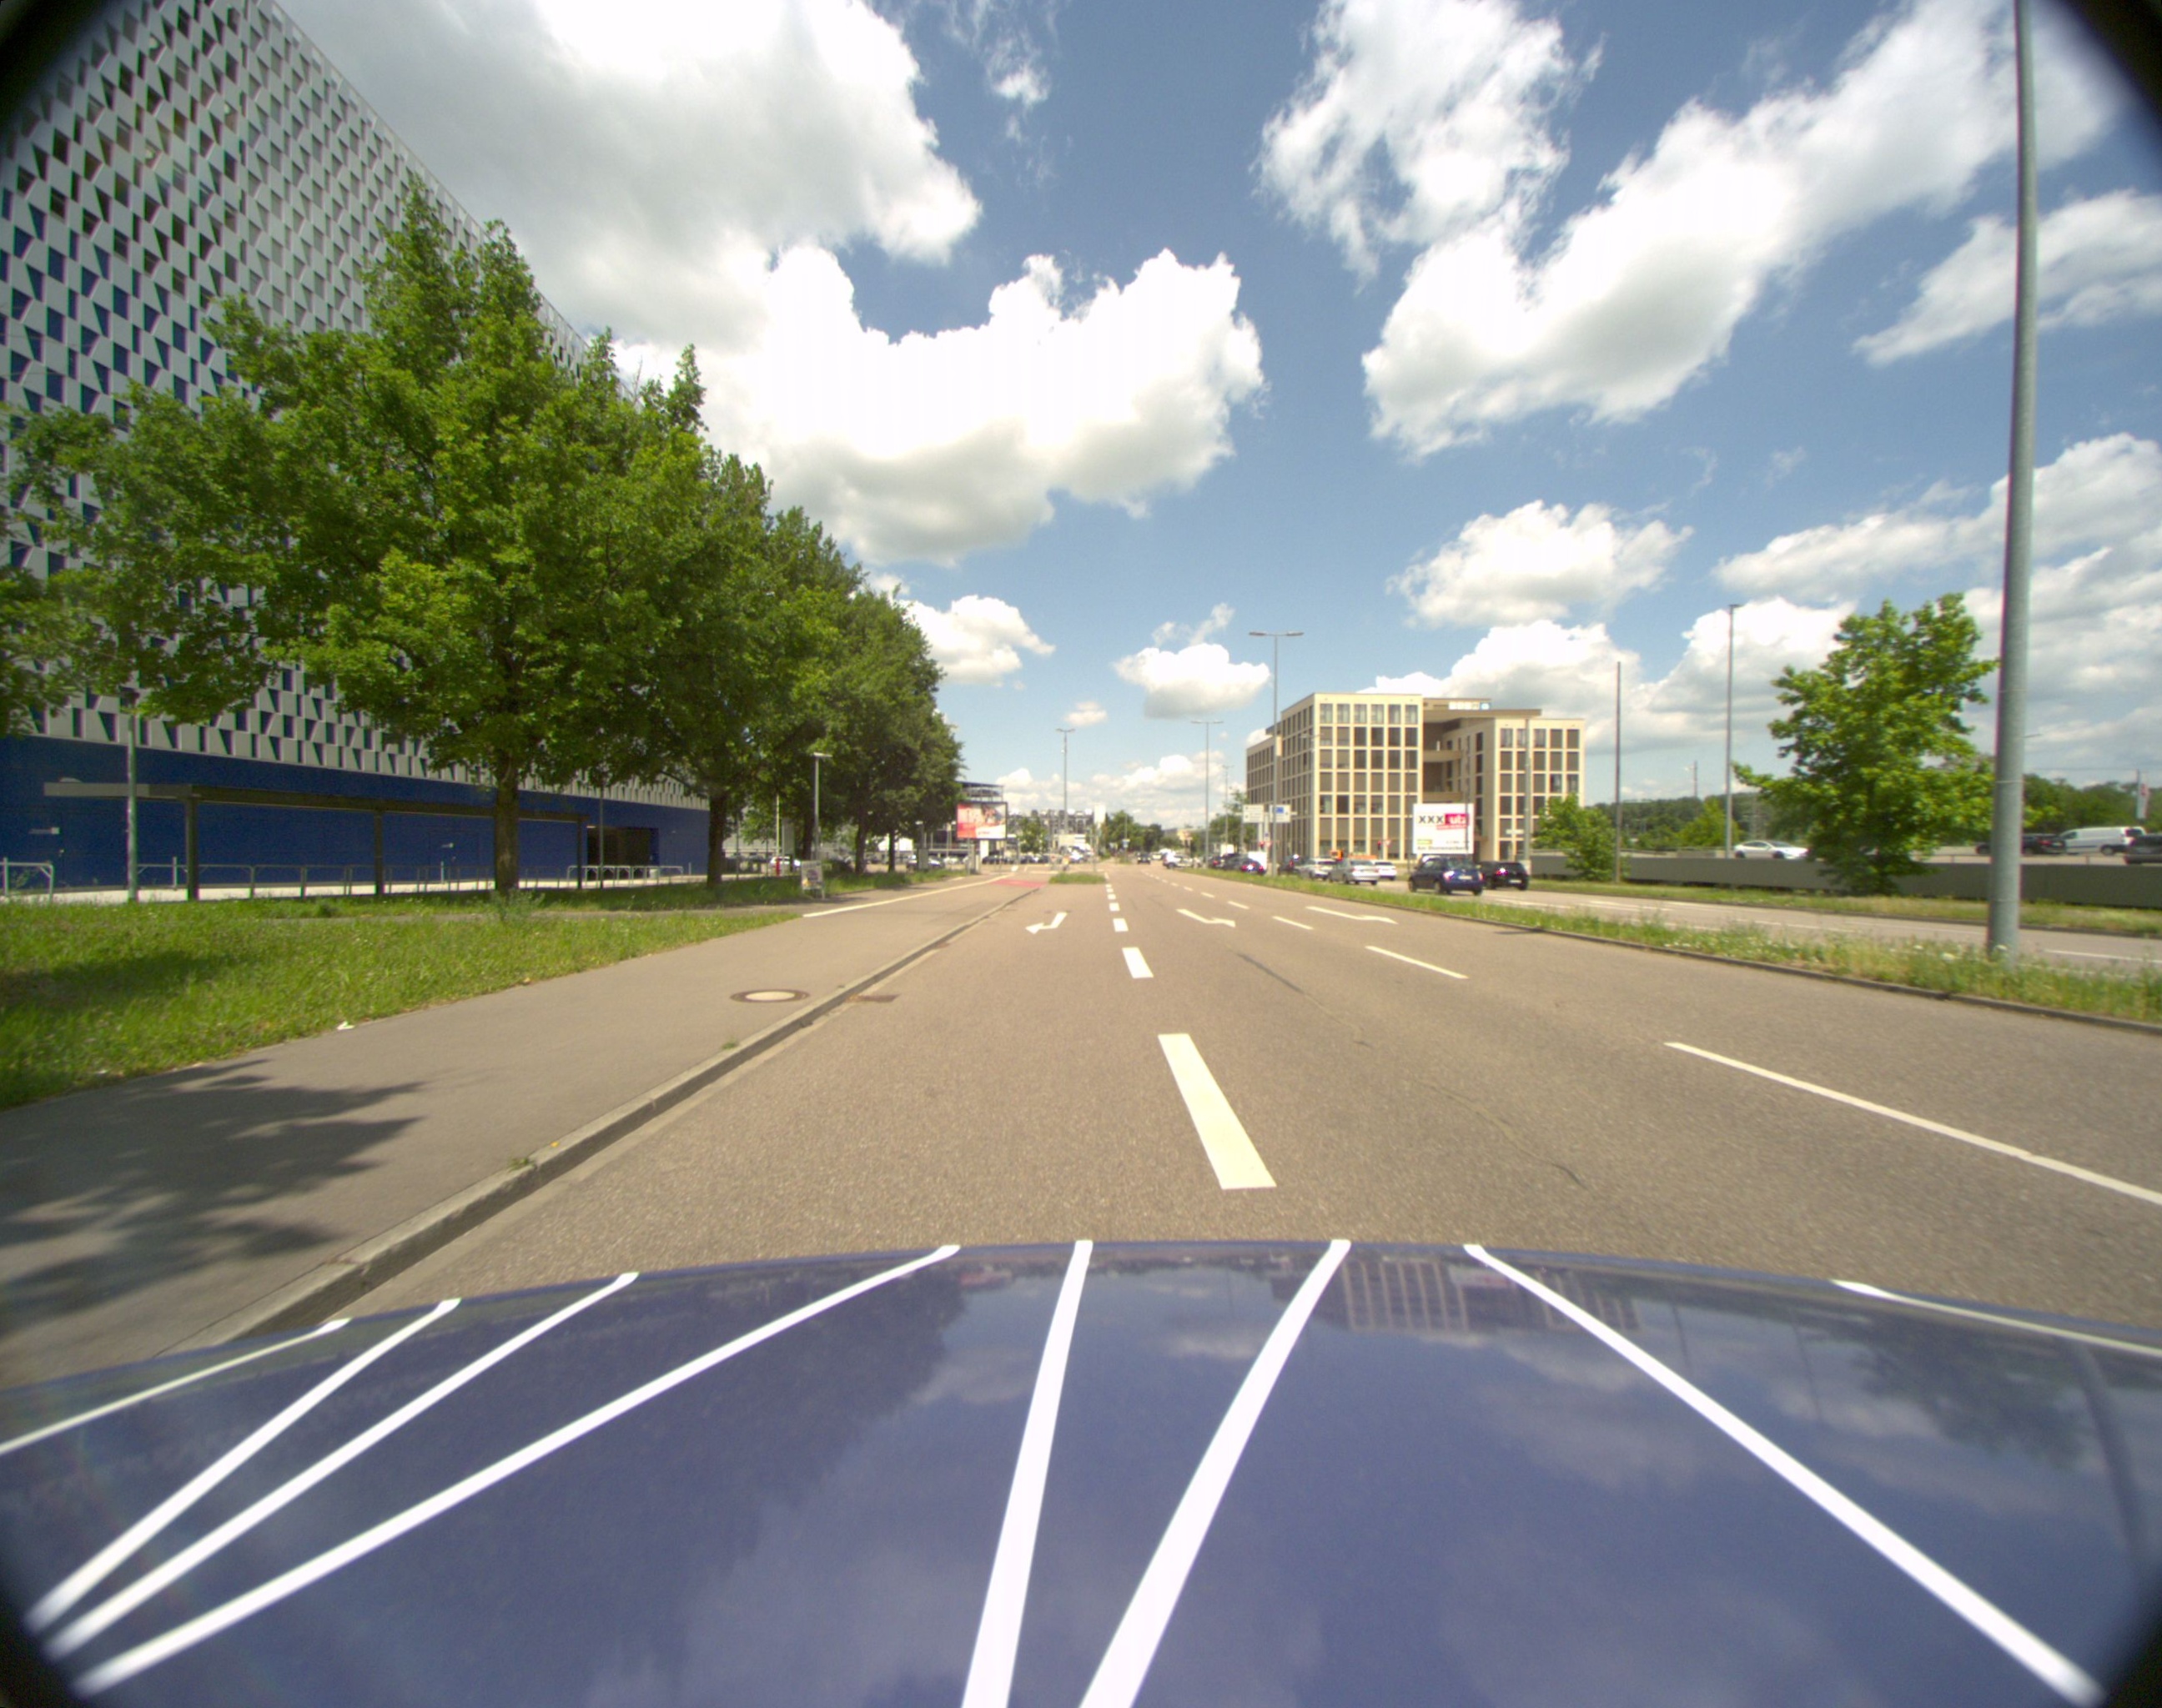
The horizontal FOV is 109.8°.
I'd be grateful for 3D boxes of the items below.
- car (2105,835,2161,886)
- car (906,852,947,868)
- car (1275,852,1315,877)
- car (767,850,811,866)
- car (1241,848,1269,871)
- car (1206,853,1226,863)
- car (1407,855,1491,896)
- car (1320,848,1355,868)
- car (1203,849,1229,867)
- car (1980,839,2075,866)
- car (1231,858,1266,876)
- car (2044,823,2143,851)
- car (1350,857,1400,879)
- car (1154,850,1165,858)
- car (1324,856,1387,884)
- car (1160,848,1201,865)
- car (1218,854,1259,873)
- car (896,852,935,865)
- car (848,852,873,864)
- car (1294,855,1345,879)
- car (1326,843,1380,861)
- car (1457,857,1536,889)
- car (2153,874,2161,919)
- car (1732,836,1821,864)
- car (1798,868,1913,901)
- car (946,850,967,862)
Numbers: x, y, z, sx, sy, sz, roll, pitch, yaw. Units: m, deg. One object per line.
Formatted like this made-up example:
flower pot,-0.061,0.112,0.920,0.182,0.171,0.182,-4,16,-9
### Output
car,50.442,0.300,34.752,4.359,2.315,2.000,0,1,1
car,-16.473,0.658,81.177,3.998,1.681,1.858,1,0,-4
car,15.532,0.763,55.443,1.796,1.691,4.227,1,-1,1
car,-31.228,0.392,81.409,3.998,1.681,1.858,1,0,-4
car,15.840,0.526,69.157,1.861,2.031,3.577,1,0,3
car,24.014,0.676,134.881,1.857,1.718,4.191,1,1,37
car,14.651,0.799,30.462,1.743,1.466,3.676,1,1,3
car,21.972,0.348,65.235,1.796,1.691,3.871,1,0,1
car,12.240,0.364,69.238,1.796,1.635,4.171,1,-1,3
car,66.383,-0.111,53.390,1.854,1.822,3.833,1,0,0
car,12.544,0.953,57.117,1.796,1.243,4.307,1,-1,1
car,71.310,-1.151,53.611,1.855,1.822,3.832,1,0,-2
car,20.392,0.942,52.877,1.623,1.464,4.358,1,-1,-2
car,18.408,0.030,178.761,2.289,1.708,4.483,1,1,3
car,14.984,0.850,41.742,1.796,1.409,4.674,1,0,1
car,10.892,0.263,83.510,4.189,1.718,1.862,0,3,-2
car,13.243,0.781,64.075,1.799,1.551,3.764,1,-1,-18
car,-21.228,0.602,97.471,4.700,1.622,1.999,1,0,-7
car,-31.057,0.555,107.009,1.795,1.543,4.003,1,0,10
car,15.152,0.818,48.511,1.796,1.393,4.846,2,-1,1
car,38.308,-0.226,107.170,6.527,2.314,2.856,1,-2,5
car,20.199,0.906,37.126,1.623,1.461,4.116,1,0,0
car,39.767,1.509,25.795,3.996,1.586,1.850,1,0,2
car,48.813,-0.262,53.482,1.855,1.822,4.673,1,0,-1
car,40.556,1.567,39.856,3.996,1.586,1.919,1,0,2
car,-17.628,0.286,107.809,1.840,1.564,4.002,1,0,6
